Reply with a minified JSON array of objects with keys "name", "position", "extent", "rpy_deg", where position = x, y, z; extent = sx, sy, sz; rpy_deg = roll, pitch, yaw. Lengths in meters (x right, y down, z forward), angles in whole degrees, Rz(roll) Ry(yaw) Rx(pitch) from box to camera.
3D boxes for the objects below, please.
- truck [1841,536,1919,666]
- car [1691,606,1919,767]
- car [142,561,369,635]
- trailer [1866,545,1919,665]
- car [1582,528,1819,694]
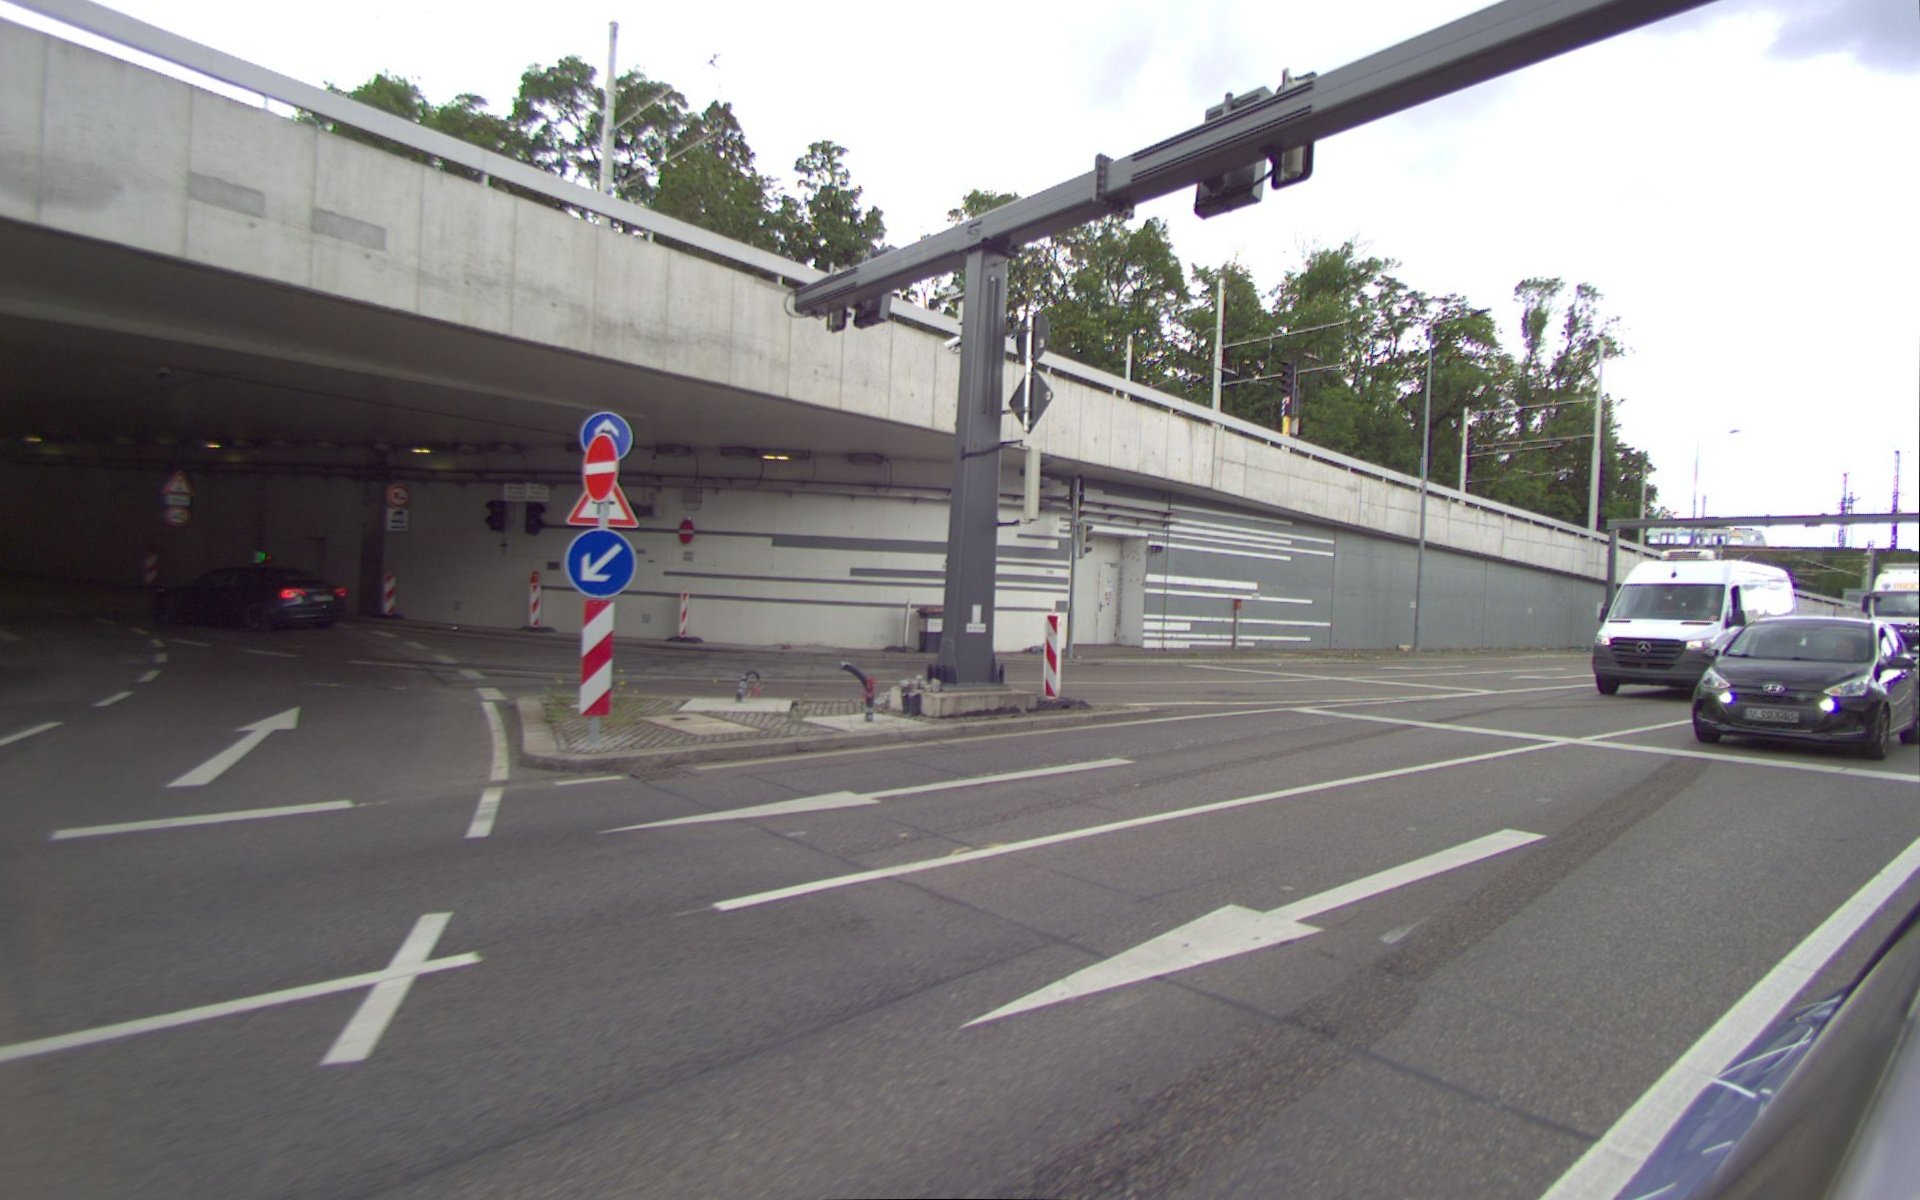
[{"name":"truck","position":[37.236,0.153,38.969],"extent":[7.307,4.691,3.813],"rpy_deg":[3,-2,-39]},{"name":"car","position":[10.083,0.864,11.838],"extent":[3.627,1.564,1.685],"rpy_deg":[0,0,-41]},{"name":"car","position":[-16.291,-0.109,23.465],"extent":[4.403,1.418,1.992],"rpy_deg":[3,3,15]},{"name":"trailer","position":[42.528,0.394,43.342],"extent":[11.894,4.691,3.813],"rpy_deg":[3,-2,-39]},{"name":"car","position":[14.936,0.304,20.169],"extent":[7.193,2.808,2.080],"rpy_deg":[3,-1,-40]}]
